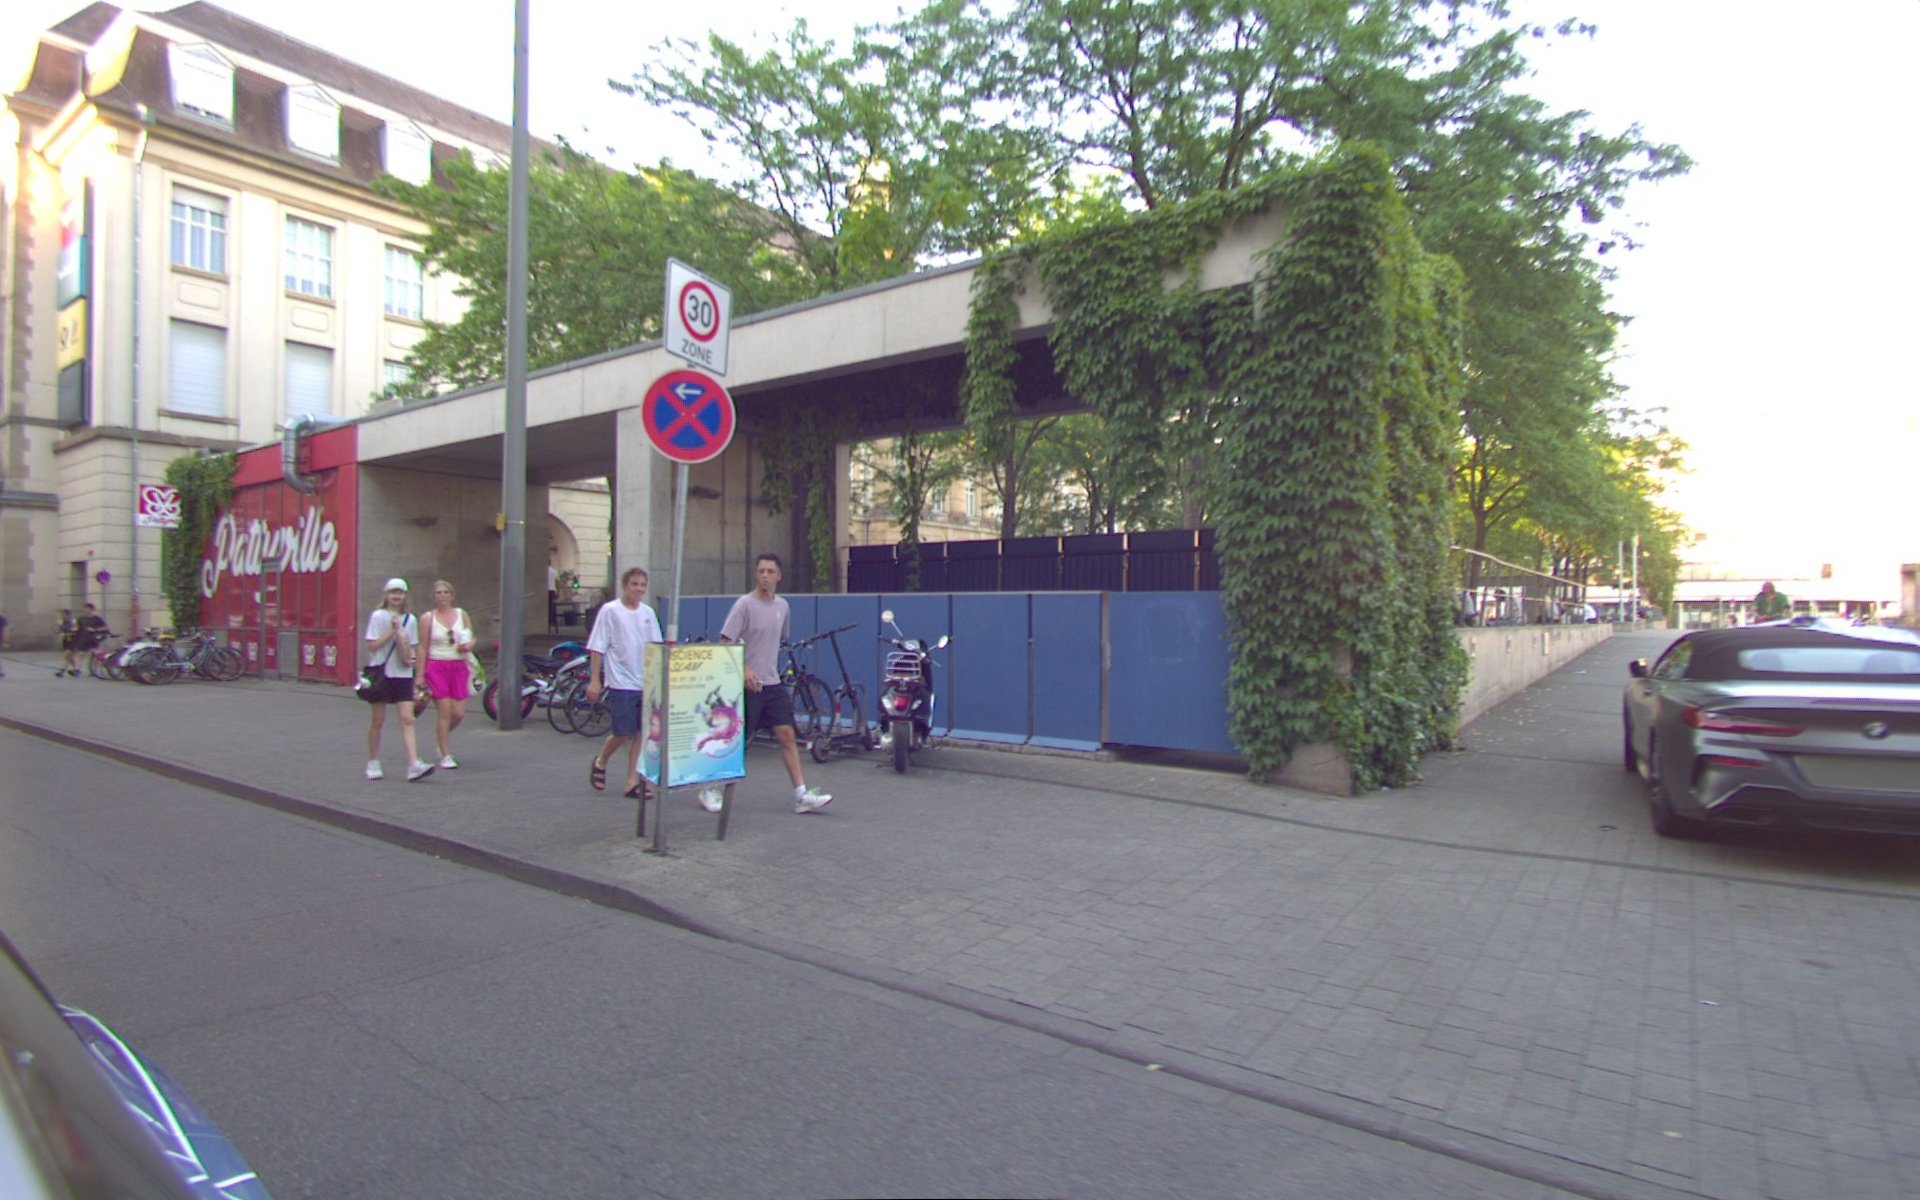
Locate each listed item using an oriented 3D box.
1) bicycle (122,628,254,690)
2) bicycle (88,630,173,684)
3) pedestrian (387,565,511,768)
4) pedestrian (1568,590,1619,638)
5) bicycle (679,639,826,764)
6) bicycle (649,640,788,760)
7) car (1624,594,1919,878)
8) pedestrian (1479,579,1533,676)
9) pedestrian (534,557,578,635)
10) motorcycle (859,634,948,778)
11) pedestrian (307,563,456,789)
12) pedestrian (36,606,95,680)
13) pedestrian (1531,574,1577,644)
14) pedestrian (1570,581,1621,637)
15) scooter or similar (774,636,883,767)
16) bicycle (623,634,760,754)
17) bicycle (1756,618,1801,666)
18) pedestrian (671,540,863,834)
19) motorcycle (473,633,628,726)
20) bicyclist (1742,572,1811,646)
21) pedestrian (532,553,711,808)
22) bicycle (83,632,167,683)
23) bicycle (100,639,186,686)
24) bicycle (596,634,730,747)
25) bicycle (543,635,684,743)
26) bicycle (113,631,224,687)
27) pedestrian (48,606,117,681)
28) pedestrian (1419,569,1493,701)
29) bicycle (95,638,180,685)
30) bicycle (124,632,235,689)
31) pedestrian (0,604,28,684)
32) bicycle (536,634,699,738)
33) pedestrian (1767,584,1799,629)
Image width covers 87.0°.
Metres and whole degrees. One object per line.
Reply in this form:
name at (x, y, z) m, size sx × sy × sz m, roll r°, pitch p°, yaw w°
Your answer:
bicycle at (-16.177, 1.210, 21.266) m, size 0.445 × 1.164 × 2.151 m, roll -1°, pitch 0°, yaw 43°
bicycle at (-18.964, 1.288, 23.160) m, size 0.311 × 1.149 × 1.486 m, roll -1°, pitch 0°, yaw 28°
pedestrian at (-4.828, 0.592, 9.569) m, size 0.736 × 1.807 × 0.801 m, roll -1°, pitch 0°, yaw 39°
pedestrian at (18.769, 0.419, 29.985) m, size 1.264 × 1.390 × 0.729 m, roll -1°, pitch -1°, yaw 33°
bicycle at (-2.038, 0.966, 10.112) m, size 0.546 × 1.096 × 1.481 m, roll -1°, pitch 0°, yaw 33°
bicycle at (-2.441, 0.978, 10.382) m, size 0.441 × 1.077 × 1.481 m, roll -1°, pitch 0°, yaw 33°
car at (6.108, 0.710, 7.169) m, size 2.099 × 1.441 × 4.403 m, roll -1°, pitch 0°, yaw 31°
pedestrian at (10.153, 0.505, 18.825) m, size 0.802 × 1.740 × 0.616 m, roll -1°, pitch -1°, yaw 36°
pedestrian at (-9.789, -0.101, 24.548) m, size 0.930 × 1.841 × 0.835 m, roll -1°, pitch 0°, yaw -19°
motorcycle at (-0.482, 0.918, 9.350) m, size 0.530 × 1.135 × 1.825 m, roll -1°, pitch 0°, yaw 6°
pedestrian at (-4.972, 0.611, 8.697) m, size 0.868 × 1.807 × 0.841 m, roll -1°, pitch 0°, yaw 39°
pedestrian at (-21.685, 1.026, 24.534) m, size 0.701 × 1.740 × 0.911 m, roll -1°, pitch -1°, yaw 32°
pedestrian at (15.086, 0.220, 25.712) m, size 0.919 × 1.740 × 0.694 m, roll -1°, pitch -1°, yaw 36°
pedestrian at (19.206, 0.277, 30.584) m, size 1.264 × 1.660 × 0.700 m, roll -1°, pitch -1°, yaw 34°
scooter or similar at (-1.225, 0.924, 9.689) m, size 0.408 × 1.096 × 1.488 m, roll -1°, pitch 0°, yaw 19°
bicycle at (-2.777, 0.942, 10.596) m, size 0.410 × 1.120 × 1.481 m, roll -1°, pitch 0°, yaw 33°
bicycle at (15.946, 0.803, 19.725) m, size 0.639 × 0.888 × 1.609 m, roll -1°, pitch -1°, yaw 39°
pedestrian at (-1.364, 0.562, 7.200) m, size 0.889 × 1.898 × 0.972 m, roll -1°, pitch 0°, yaw 39°
motorcycle at (-5.262, 0.997, 13.043) m, size 1.797 × 1.077 × 0.535 m, roll -1°, pitch 0°, yaw -24°
bicyclist at (15.950, 0.184, 19.787) m, size 1.010 × 1.400 × 0.691 m, roll -1°, pitch -1°, yaw 39°
pedestrian at (-2.613, 0.570, 7.838) m, size 0.889 × 1.807 × 0.972 m, roll -1°, pitch 0°, yaw 39°
bicycle at (-19.247, 1.316, 23.354) m, size 0.311 × 1.084 × 1.486 m, roll -1°, pitch 0°, yaw 28°
bicycle at (-18.414, 1.399, 22.841) m, size 0.311 × 0.963 × 1.486 m, roll -1°, pitch 0°, yaw 28°
bicycle at (-3.215, 0.951, 11.053) m, size 0.410 × 1.096 × 1.481 m, roll -1°, pitch 0°, yaw 33°
bicycle at (-3.918, 0.978, 11.515) m, size 0.436 × 1.096 × 1.476 m, roll -1°, pitch 0°, yaw 44°
bicycle at (-16.909, 1.238, 21.655) m, size 0.354 × 1.091 × 1.820 m, roll -1°, pitch 0°, yaw 43°
pedestrian at (-20.825, 1.023, 24.041) m, size 0.823 × 1.740 × 0.919 m, roll -1°, pitch -1°, yaw 5°
pedestrian at (7.037, 0.485, 14.344) m, size 0.797 × 1.795 × 0.752 m, roll -1°, pitch -1°, yaw 39°
bicycle at (-18.674, 1.376, 23.012) m, size 0.311 × 0.986 × 1.486 m, roll -1°, pitch 0°, yaw 28°
bicycle at (-16.506, 1.259, 21.437) m, size 0.354 × 1.091 × 1.820 m, roll -1°, pitch -1°, yaw 43°
pedestrian at (-22.529, 1.022, 23.475) m, size 0.937 × 1.841 × 1.003 m, roll -1°, pitch 0°, yaw 15°
bicycle at (-4.072, 0.989, 12.169) m, size 0.550 × 1.095 × 1.849 m, roll -1°, pitch 0°, yaw 38°
pedestrian at (36.175, 0.282, 44.490) m, size 0.720 × 1.963 × 0.805 m, roll 0°, pitch -1°, yaw 0°
